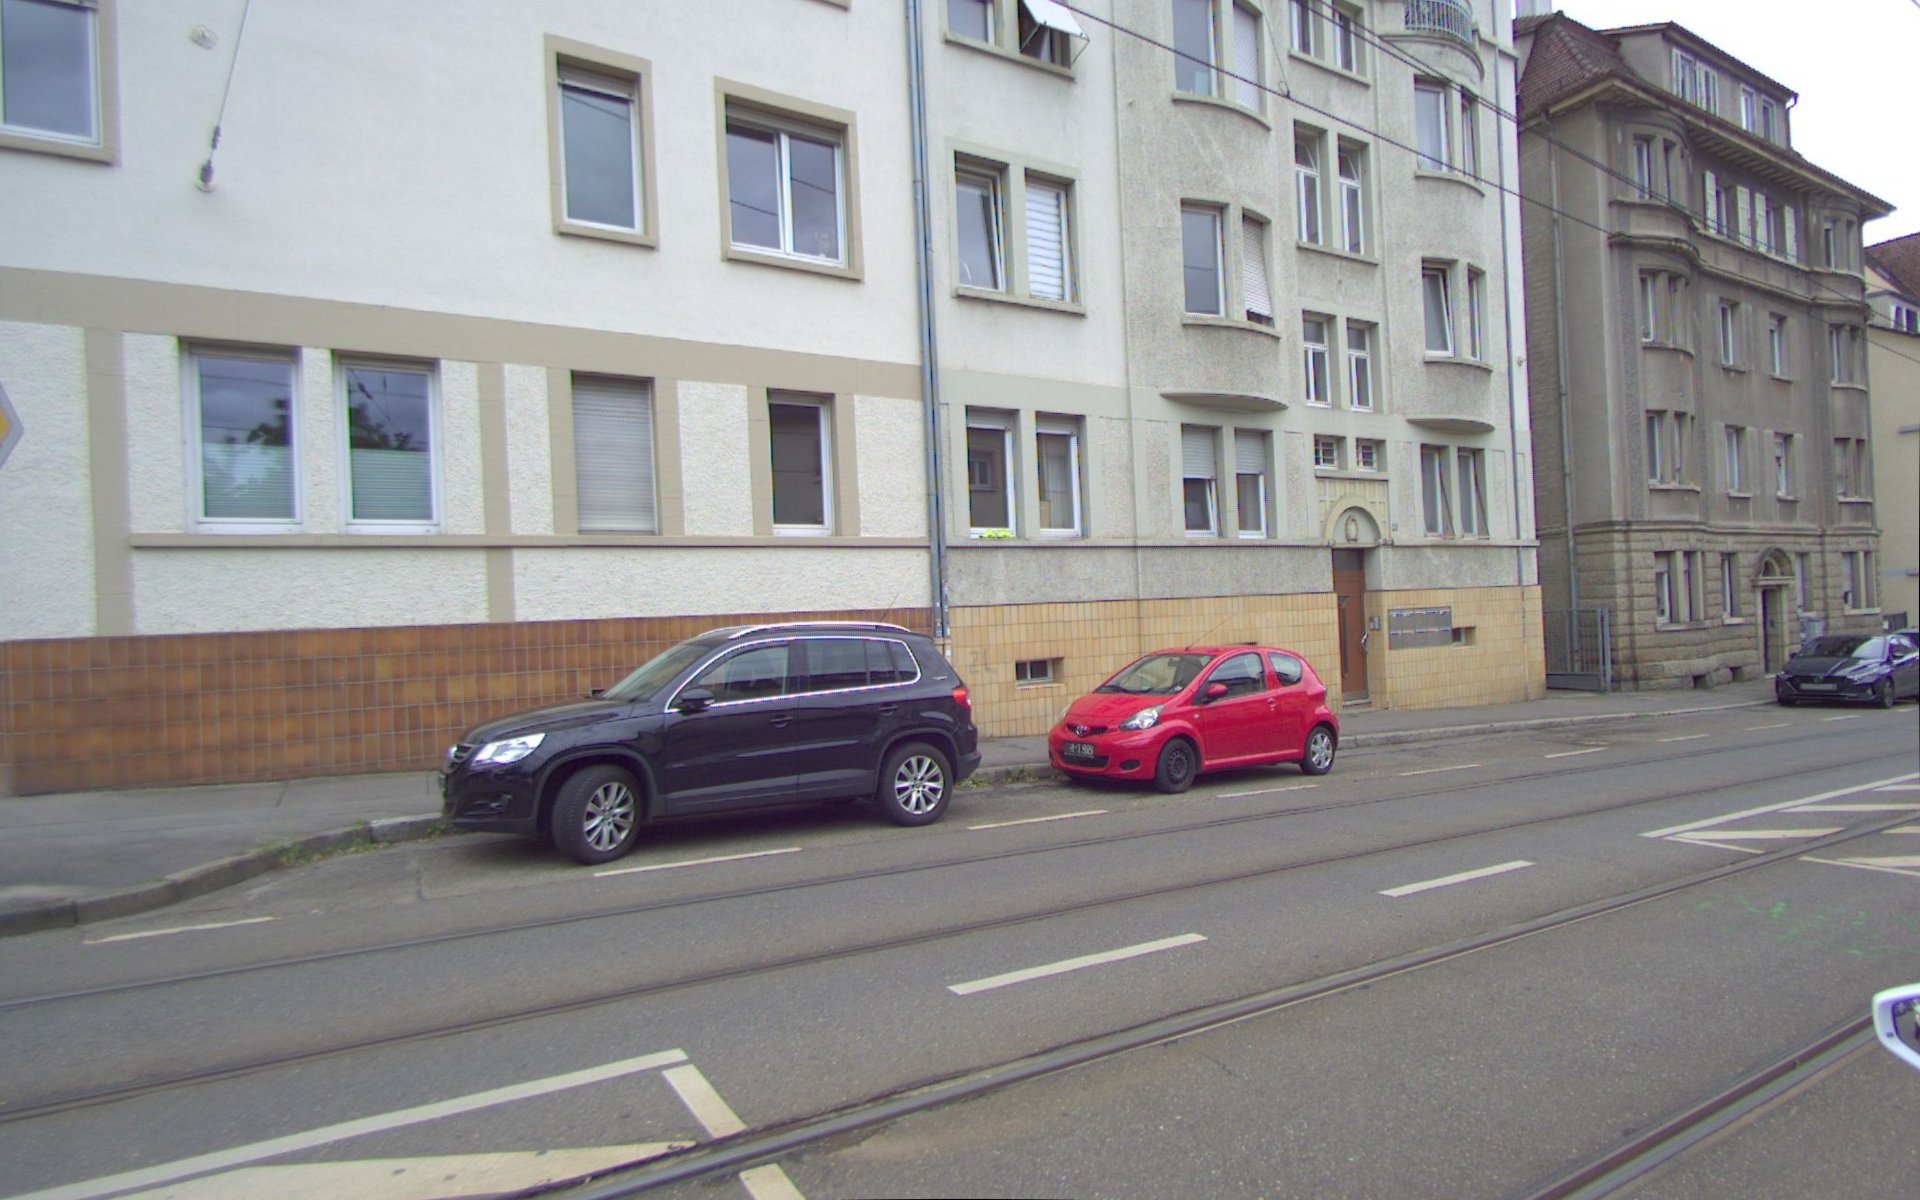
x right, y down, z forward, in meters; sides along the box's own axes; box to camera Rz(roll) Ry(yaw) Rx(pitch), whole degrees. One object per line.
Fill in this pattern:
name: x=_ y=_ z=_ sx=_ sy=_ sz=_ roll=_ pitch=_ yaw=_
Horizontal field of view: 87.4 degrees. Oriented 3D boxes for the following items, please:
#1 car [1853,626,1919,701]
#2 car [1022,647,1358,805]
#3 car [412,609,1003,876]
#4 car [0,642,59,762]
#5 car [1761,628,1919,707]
car: x=22.493 y=1.455 z=23.210 sx=4.304 sy=1.625 sz=1.612 roll=2 pitch=-4 yaw=-33
car: x=2.634 y=1.289 z=11.223 sx=3.709 sy=1.482 sz=1.610 roll=2 pitch=-4 yaw=-35
car: x=-1.954 y=1.007 z=8.260 sx=4.354 sy=1.667 sz=1.858 roll=2 pitch=-4 yaw=-33
car: x=-13.551 y=1.311 z=12.159 sx=1.840 sy=1.592 sz=3.998 roll=0 pitch=-2 yaw=-4
car: x=18.372 y=1.377 z=20.760 sx=3.989 sy=1.482 sz=1.612 roll=2 pitch=-4 yaw=-33
